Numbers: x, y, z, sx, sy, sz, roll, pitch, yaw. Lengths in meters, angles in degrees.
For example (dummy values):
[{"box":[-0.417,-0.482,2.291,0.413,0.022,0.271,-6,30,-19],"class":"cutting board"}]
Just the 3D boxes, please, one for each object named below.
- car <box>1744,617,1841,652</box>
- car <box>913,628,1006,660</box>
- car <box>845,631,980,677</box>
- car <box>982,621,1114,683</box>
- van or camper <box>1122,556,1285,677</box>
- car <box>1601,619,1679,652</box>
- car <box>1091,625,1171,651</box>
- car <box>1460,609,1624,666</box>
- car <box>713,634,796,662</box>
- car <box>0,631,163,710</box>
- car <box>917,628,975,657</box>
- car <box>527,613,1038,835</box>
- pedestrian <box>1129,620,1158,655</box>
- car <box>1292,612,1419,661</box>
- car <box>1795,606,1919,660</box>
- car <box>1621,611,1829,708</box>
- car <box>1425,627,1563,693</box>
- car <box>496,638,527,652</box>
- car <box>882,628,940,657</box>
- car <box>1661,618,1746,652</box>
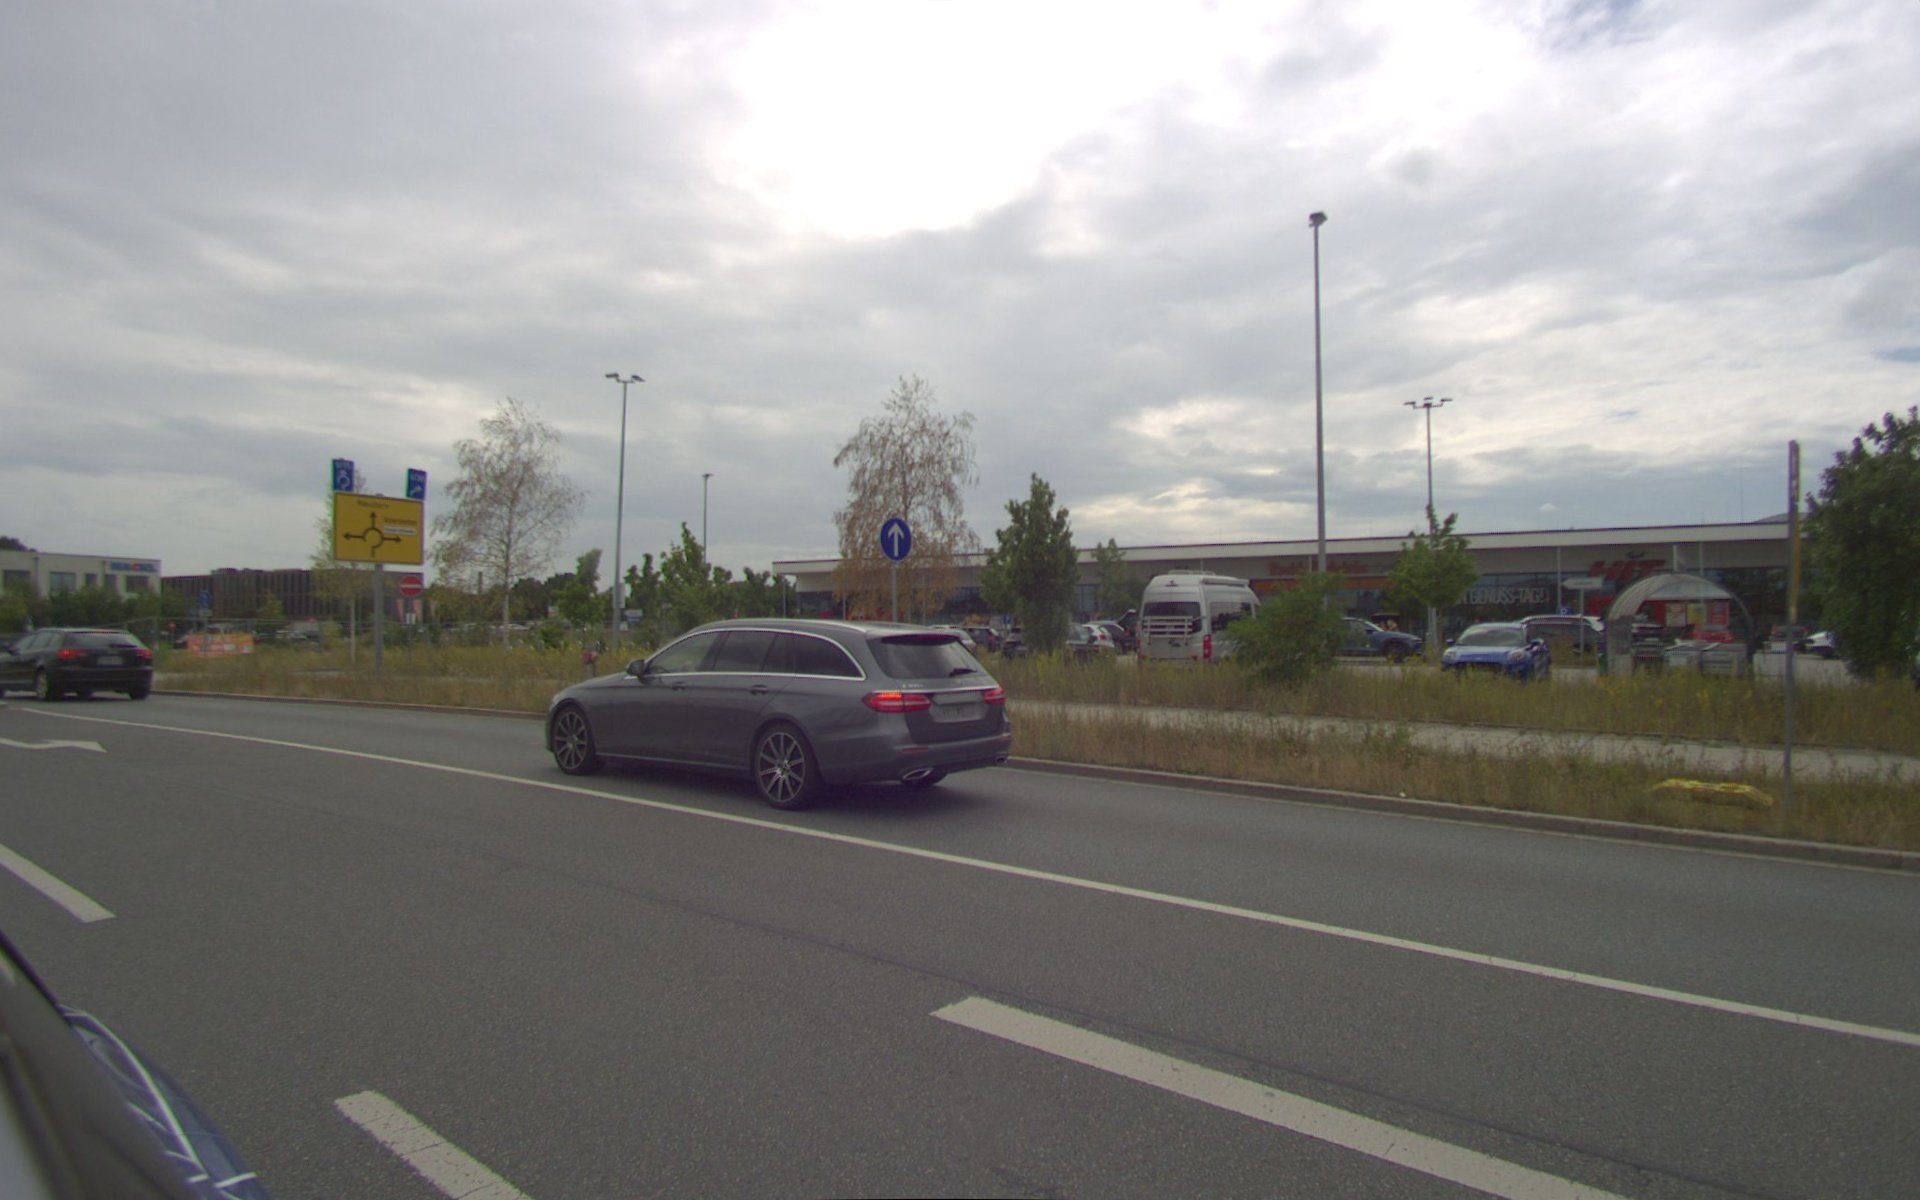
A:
[{"box":[37.395,1.559,45.613,1.988,1.493,4.027,-1,-2,18],"class":"car"},{"box":[-0.015,2.074,47.986,4.034,1.453,1.838,-1,-2,19],"class":"car"},{"box":[-1.469,1.702,32.892,2.136,1.377,4.529,-2,-2,34],"class":"car"},{"box":[2.602,1.449,29.270,2.081,1.646,3.907,-2,-2,37],"class":"car"},{"box":[6.552,0.445,26.715,2.238,2.821,5.801,-1,-2,35],"class":"van or camper"},{"box":[31.965,1.654,47.711,1.988,1.493,4.027,-1,-2,18],"class":"car"},{"box":[9.650,2.133,57.095,3.984,1.453,1.979,-2,-2,30],"class":"car"},{"box":[20.587,1.330,36.104,4.902,1.914,2.139,-1,-2,28],"class":"car"},{"box":[-11.281,2.633,55.560,4.169,1.463,1.817,-1,-2,24],"class":"car"},{"box":[-18.164,1.356,20.485,4.217,1.456,1.706,-1,-3,30],"class":"car"},{"box":[-0.834,2.608,62.514,1.943,1.741,3.963,-1,-2,27],"class":"car"},{"box":[-1.771,0.918,9.033,4.760,1.501,1.768,-2,-3,38],"class":"car"},{"box":[8.552,1.756,47.250,1.242,1.619,0.888,-1,-2,6],"class":"pedestrian"},{"box":[14.933,1.383,38.341,4.361,1.765,1.896,-1,-2,23],"class":"car"},{"box":[33.210,1.180,36.469,4.278,1.888,2.227,-1,-2,23],"class":"car"},{"box":[11.726,0.832,15.412,2.012,1.269,4.034,-2,-2,44],"class":"car"},{"box":[12.170,1.292,22.929,2.009,1.314,4.282,-2,-2,38],"class":"car"},{"box":[-61.029,6.158,137.715,1.977,1.730,3.990,-1,-1,8],"class":"car"},{"box":[-3.047,2.655,63.833,1.990,1.741,3.963,-1,-2,27],"class":"car"},{"box":[34.646,1.616,47.287,1.988,1.493,4.027,-1,-2,18],"class":"car"}]
